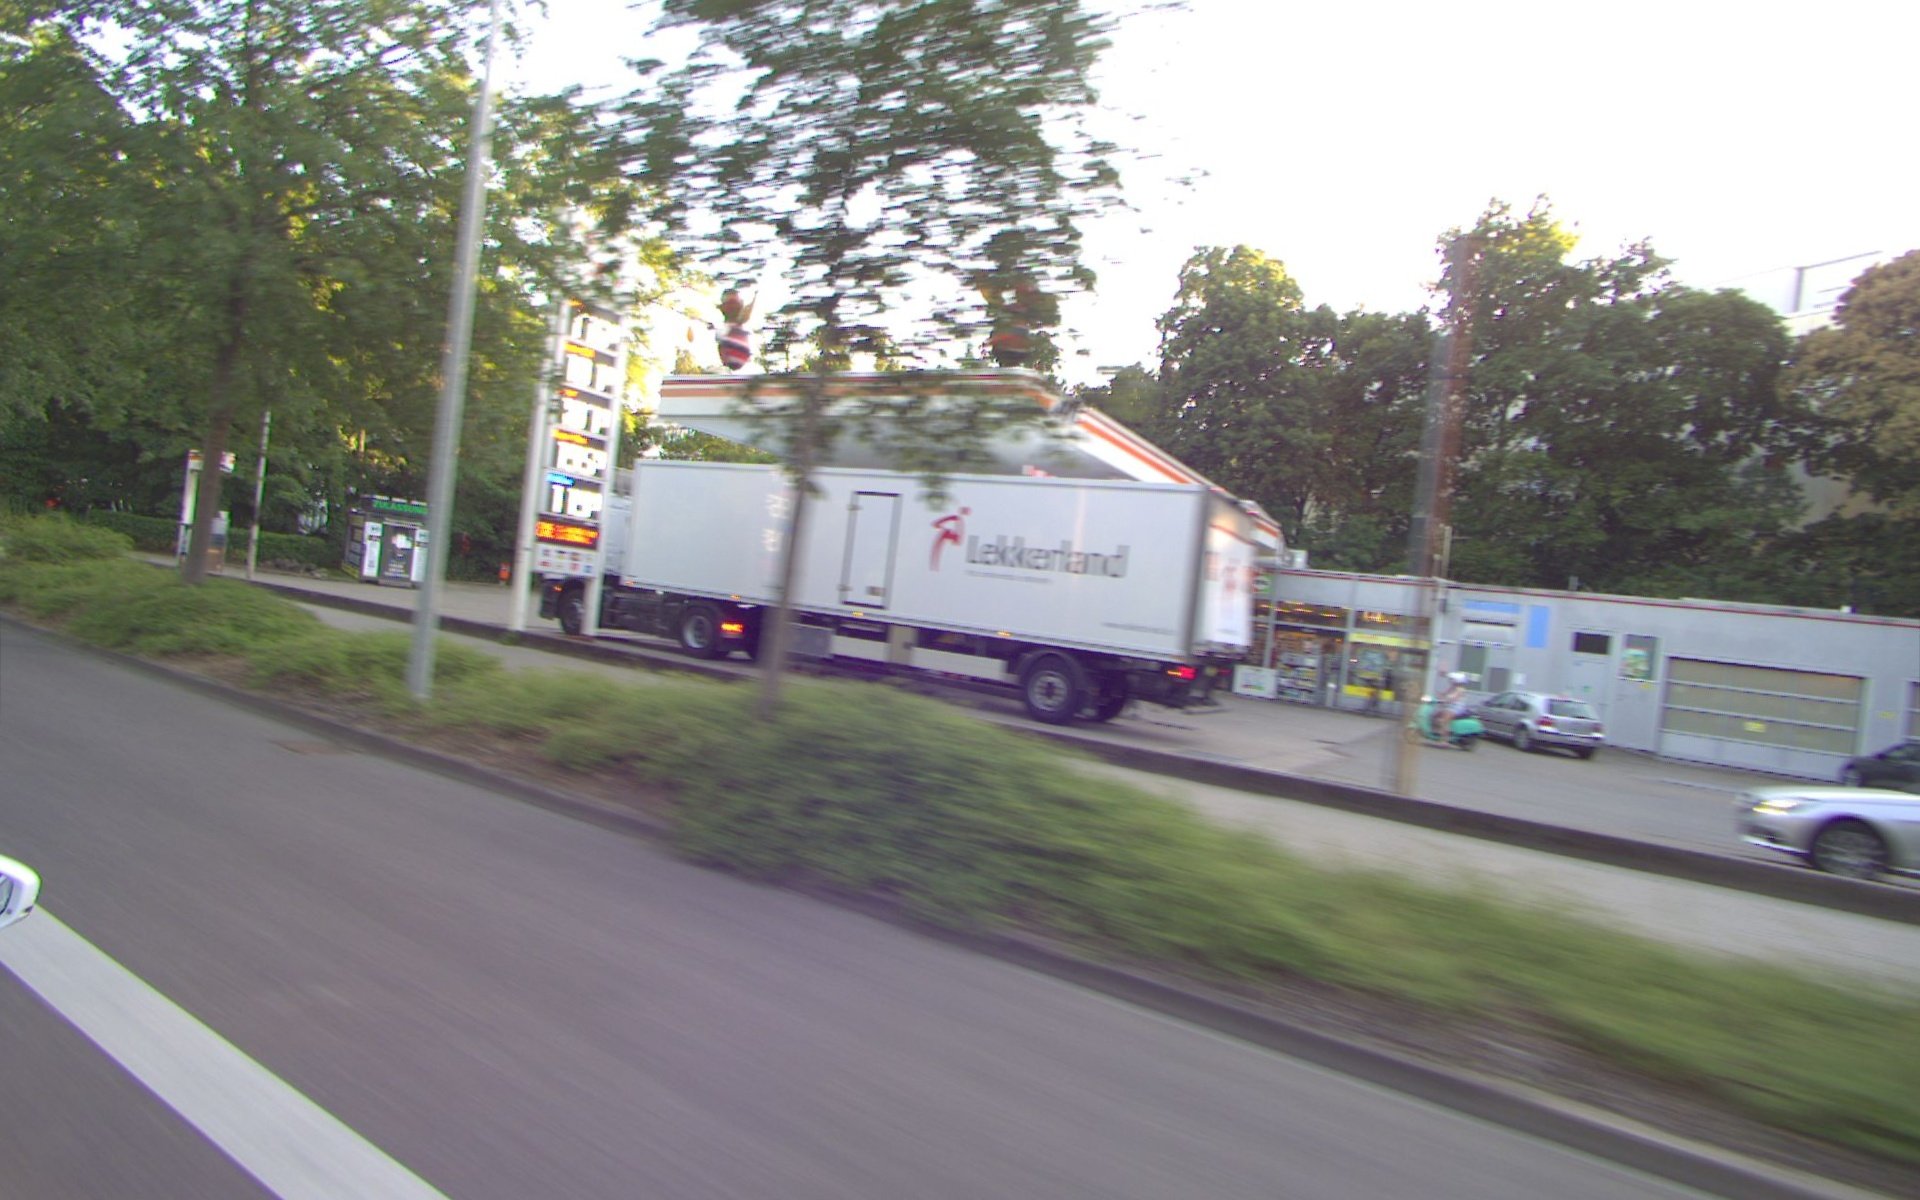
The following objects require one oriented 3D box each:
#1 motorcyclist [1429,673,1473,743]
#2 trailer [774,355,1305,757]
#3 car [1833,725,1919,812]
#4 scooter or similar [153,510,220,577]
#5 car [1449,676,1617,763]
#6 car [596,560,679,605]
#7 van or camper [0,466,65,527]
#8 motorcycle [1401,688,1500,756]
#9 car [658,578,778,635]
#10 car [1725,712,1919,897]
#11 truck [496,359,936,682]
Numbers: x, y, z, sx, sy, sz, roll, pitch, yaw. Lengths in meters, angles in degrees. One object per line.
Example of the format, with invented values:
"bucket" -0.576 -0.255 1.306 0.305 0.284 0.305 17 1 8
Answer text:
"motorcyclist" 10.952 2.393 22.445 0.684 1.452 0.611 6 0 21
"trailer" 1.185 -0.908 16.972 7.798 5.528 3.026 7 0 29
"car" 20.932 3.736 21.422 1.641 1.541 4.132 6 0 13
"scooter or similar" -16.867 -1.243 21.936 1.444 1.298 0.598 7 0 32
"car" 14.405 2.947 25.597 1.642 1.541 4.129 6 0 -2
"car" -15.641 -0.873 48.674 1.911 1.729 4.639 4 2 -44
"van or camper" -61.155 -6.791 65.278 8.118 3.236 3.436 6 -3 42
"motorcycle" 10.911 2.700 22.446 1.829 1.194 0.624 7 0 21
"car" -8.793 0.220 36.269 4.632 1.538 1.782 7 2 41
"car" 10.812 2.319 10.111 4.743 1.601 1.772 7 -2 35
"truck" -5.120 -1.724 20.486 8.264 5.522 3.039 8 1 29
